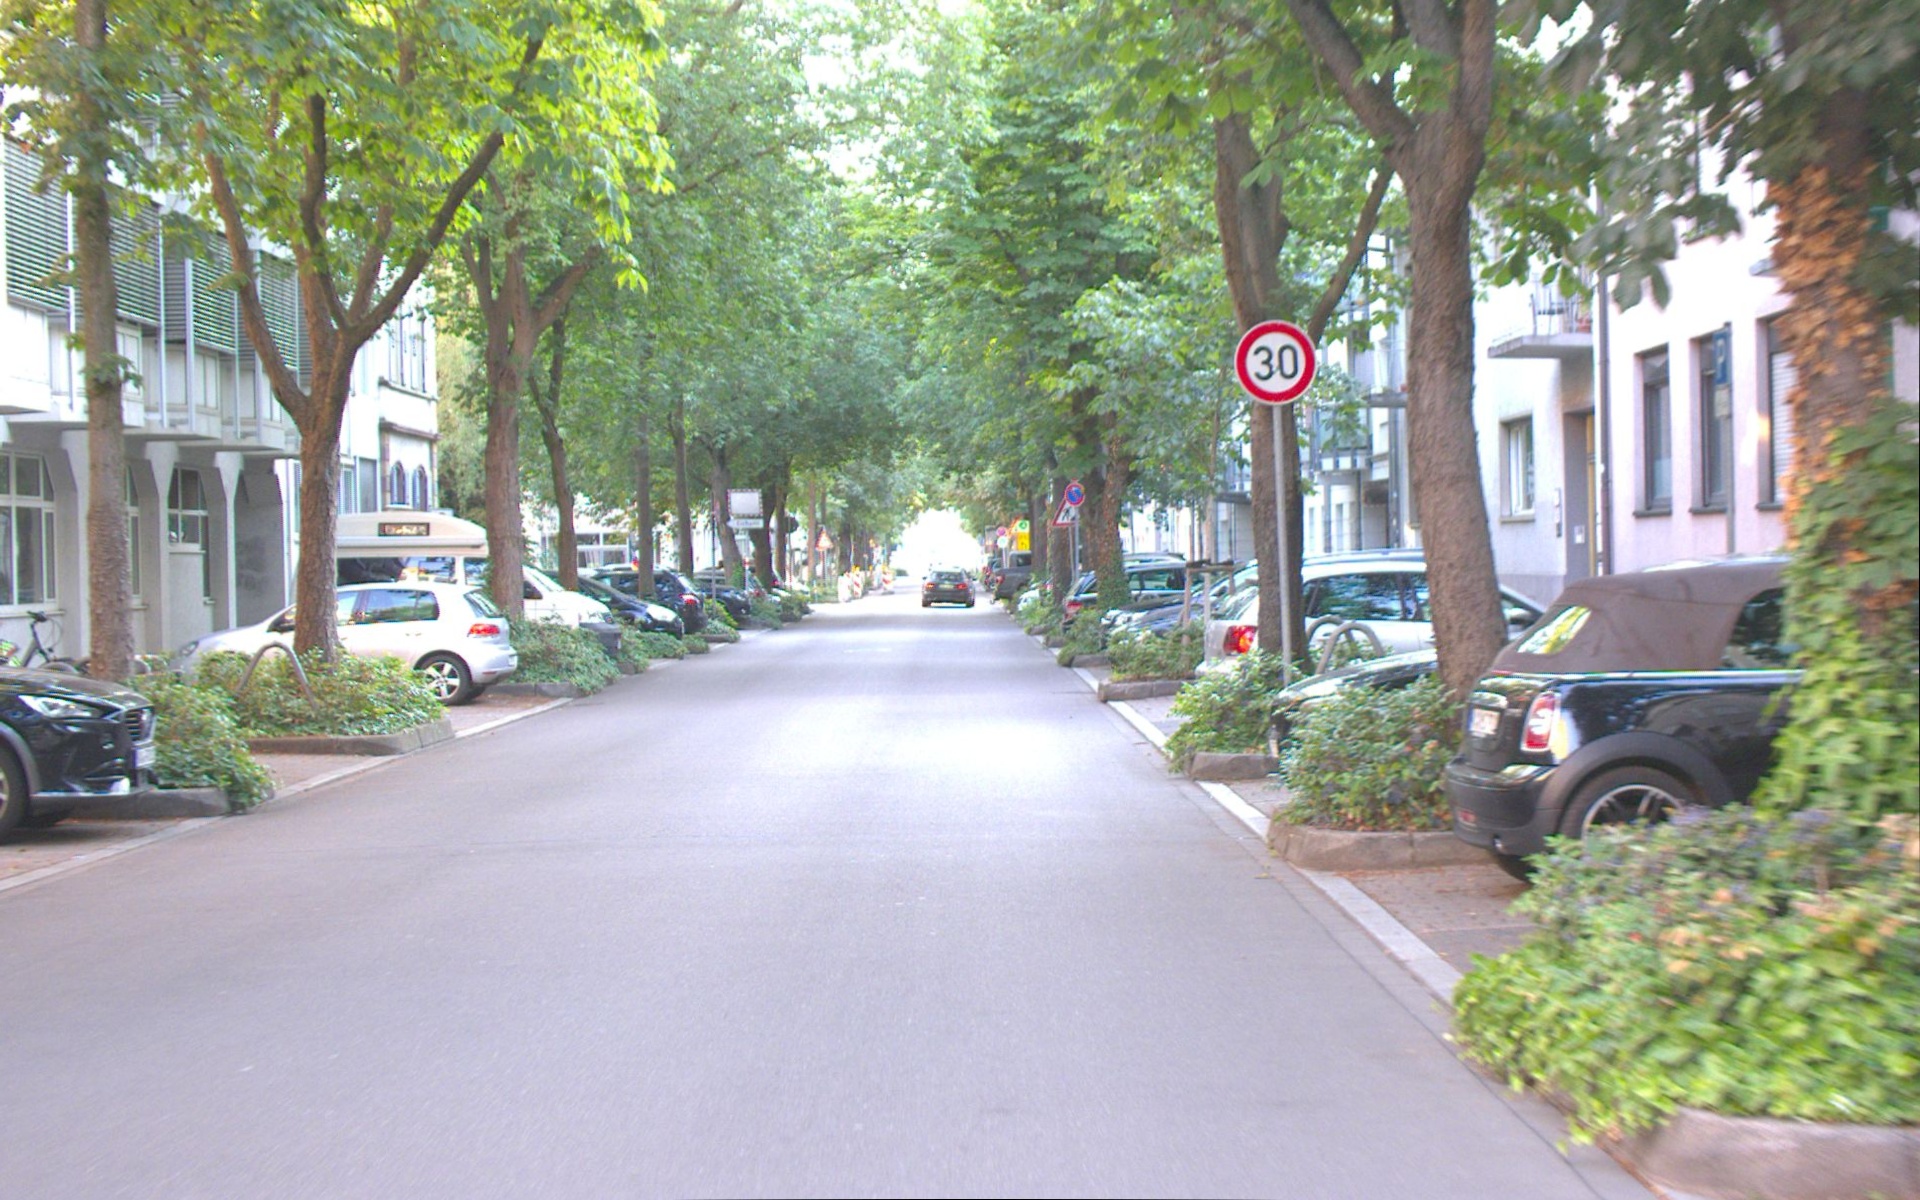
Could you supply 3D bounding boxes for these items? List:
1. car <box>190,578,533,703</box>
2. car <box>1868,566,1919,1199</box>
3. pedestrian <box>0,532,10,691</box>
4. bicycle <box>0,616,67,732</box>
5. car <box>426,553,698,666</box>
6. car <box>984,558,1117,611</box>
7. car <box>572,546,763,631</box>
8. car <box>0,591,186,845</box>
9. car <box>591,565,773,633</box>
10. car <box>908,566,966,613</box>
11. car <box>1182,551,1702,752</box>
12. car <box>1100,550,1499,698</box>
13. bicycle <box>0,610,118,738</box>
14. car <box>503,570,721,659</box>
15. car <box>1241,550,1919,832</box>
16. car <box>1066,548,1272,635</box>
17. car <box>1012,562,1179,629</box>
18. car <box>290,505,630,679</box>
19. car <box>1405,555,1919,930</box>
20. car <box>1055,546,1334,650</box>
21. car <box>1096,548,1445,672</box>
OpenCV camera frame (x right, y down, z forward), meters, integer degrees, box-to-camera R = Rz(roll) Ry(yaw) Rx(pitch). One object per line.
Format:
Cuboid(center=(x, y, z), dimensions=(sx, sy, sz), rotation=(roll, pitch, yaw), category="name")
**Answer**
Cuboid(center=(-7.301, 0.482, 42.148), dimensions=(3.871, 1.481, 1.757), rotation=(0, 1, 2), category="car")
Cuboid(center=(3.771, 0.607, 6.595), dimensions=(3.483, 1.447, 1.900), rotation=(-2, 1, -2), category="car")
Cuboid(center=(-10.767, 0.132, 37.194), dimensions=(0.703, 1.722, 0.905), rotation=(0, 0, 0), category="pedestrian")
Cuboid(center=(-9.017, 0.659, 31.263), dimensions=(1.796, 1.026, 0.499), rotation=(0, 1, 23), category="bicycle")
Cuboid(center=(-7.242, 0.160, 62.941), dimensions=(4.682, 1.848, 1.963), rotation=(-2, 0, 0), category="car")
Cuboid(center=(2.973, -0.516, 113.441), dimensions=(4.268, 1.560, 1.963), rotation=(-2, 0, 0), category="car")
Cuboid(center=(-7.616, -0.308, 89.814), dimensions=(4.762, 1.977, 1.963), rotation=(-2, 0, 0), category="car")
Cuboid(center=(-7.066, 0.694, 21.289), dimensions=(4.127, 1.481, 1.929), rotation=(0, 1, -1), category="car")
Cuboid(center=(-7.579, -0.036, 94.136), dimensions=(4.762, 1.624, 1.963), rotation=(-2, 0, 0), category="car")
Cuboid(center=(-0.812, -0.386, 123.281), dimensions=(1.956, 1.560, 4.282), rotation=(-2, 0, 0), category="car")
Cuboid(center=(3.872, 0.393, 28.053), dimensions=(3.876, 1.435, 1.848), rotation=(-2, 1, -3), category="car")
Cuboid(center=(4.080, 0.271, 41.924), dimensions=(4.718, 1.704, 1.950), rotation=(0, 1, 2), category="car")
Cuboid(center=(-8.324, 0.646, 30.101), dimensions=(1.794, 1.104, 0.500), rotation=(0, 1, -23), category="bicycle")
Cuboid(center=(-7.125, 0.277, 70.665), dimensions=(4.203, 1.630, 1.963), rotation=(-2, 0, 0), category="car")
Cuboid(center=(4.109, 0.482, 20.175), dimensions=(4.711, 1.416, 2.036), rotation=(-2, 1, 0), category="car")
Cuboid(center=(4.249, -0.188, 70.425), dimensions=(4.050, 1.592, 1.825), rotation=(-2, 0, 0), category="car")
Cuboid(center=(3.541, -0.121, 90.451), dimensions=(4.268, 1.560, 1.963), rotation=(-2, 0, 0), category="car")
Cuboid(center=(-7.289, -0.126, 50.485), dimensions=(4.682, 2.469, 2.000), rotation=(0, 0, 0), category="car")
Cuboid(center=(3.873, 0.556, 15.165), dimensions=(3.483, 1.447, 1.900), rotation=(-2, 1, -2), category="car")
Cuboid(center=(3.898, -0.042, 57.316), dimensions=(4.508, 1.516, 1.995), rotation=(-2, 0, 4), category="car")
Cuboid(center=(4.318, 0.129, 48.402), dimensions=(4.682, 1.516, 1.963), rotation=(-2, 0, 0), category="car")
